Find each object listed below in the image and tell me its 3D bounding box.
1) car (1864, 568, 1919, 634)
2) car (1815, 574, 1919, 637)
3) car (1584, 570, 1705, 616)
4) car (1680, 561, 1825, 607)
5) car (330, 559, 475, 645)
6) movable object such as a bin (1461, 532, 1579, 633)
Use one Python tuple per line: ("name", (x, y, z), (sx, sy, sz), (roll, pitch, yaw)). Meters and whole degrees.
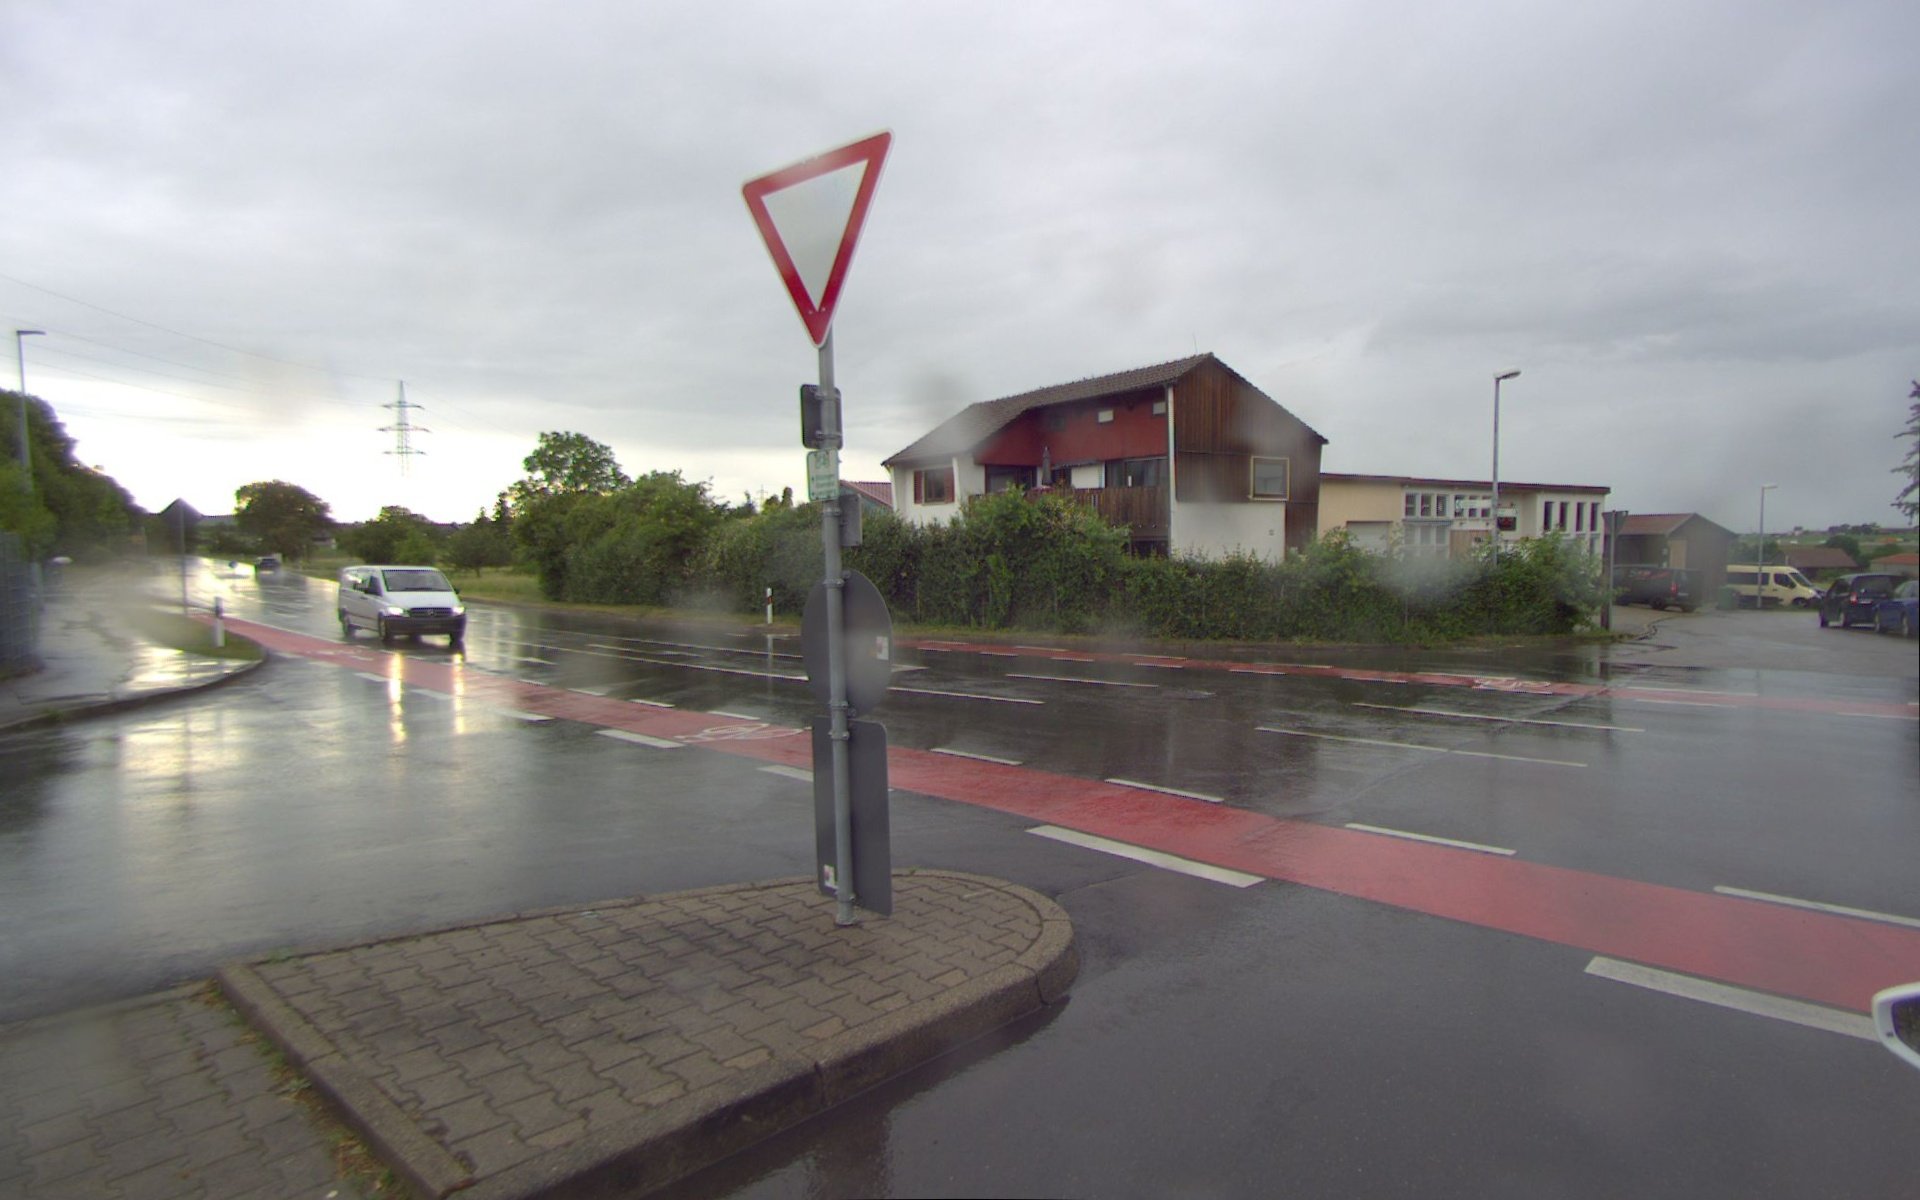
("car", (25.740, 0.020, 26.536), (1.923, 1.632, 4.436), (1, 1, 31))
("car", (28.892, 0.141, 31.874), (2.045, 1.859, 4.459), (1, 1, 32))
("car", (30.540, -0.319, 44.977), (1.964, 1.930, 4.401), (0, 1, -10))
("car", (44.491, -0.904, 56.566), (2.436, 2.447, 5.975), (0, 1, -32))
("car", (-14.765, -0.002, 26.461), (5.299, 2.045, 1.893), (1, 2, 44))
("movable object such as a bin", (15.397, -0.456, 27.597), (3.311, 2.591, 1.719), (0, 1, -39))
